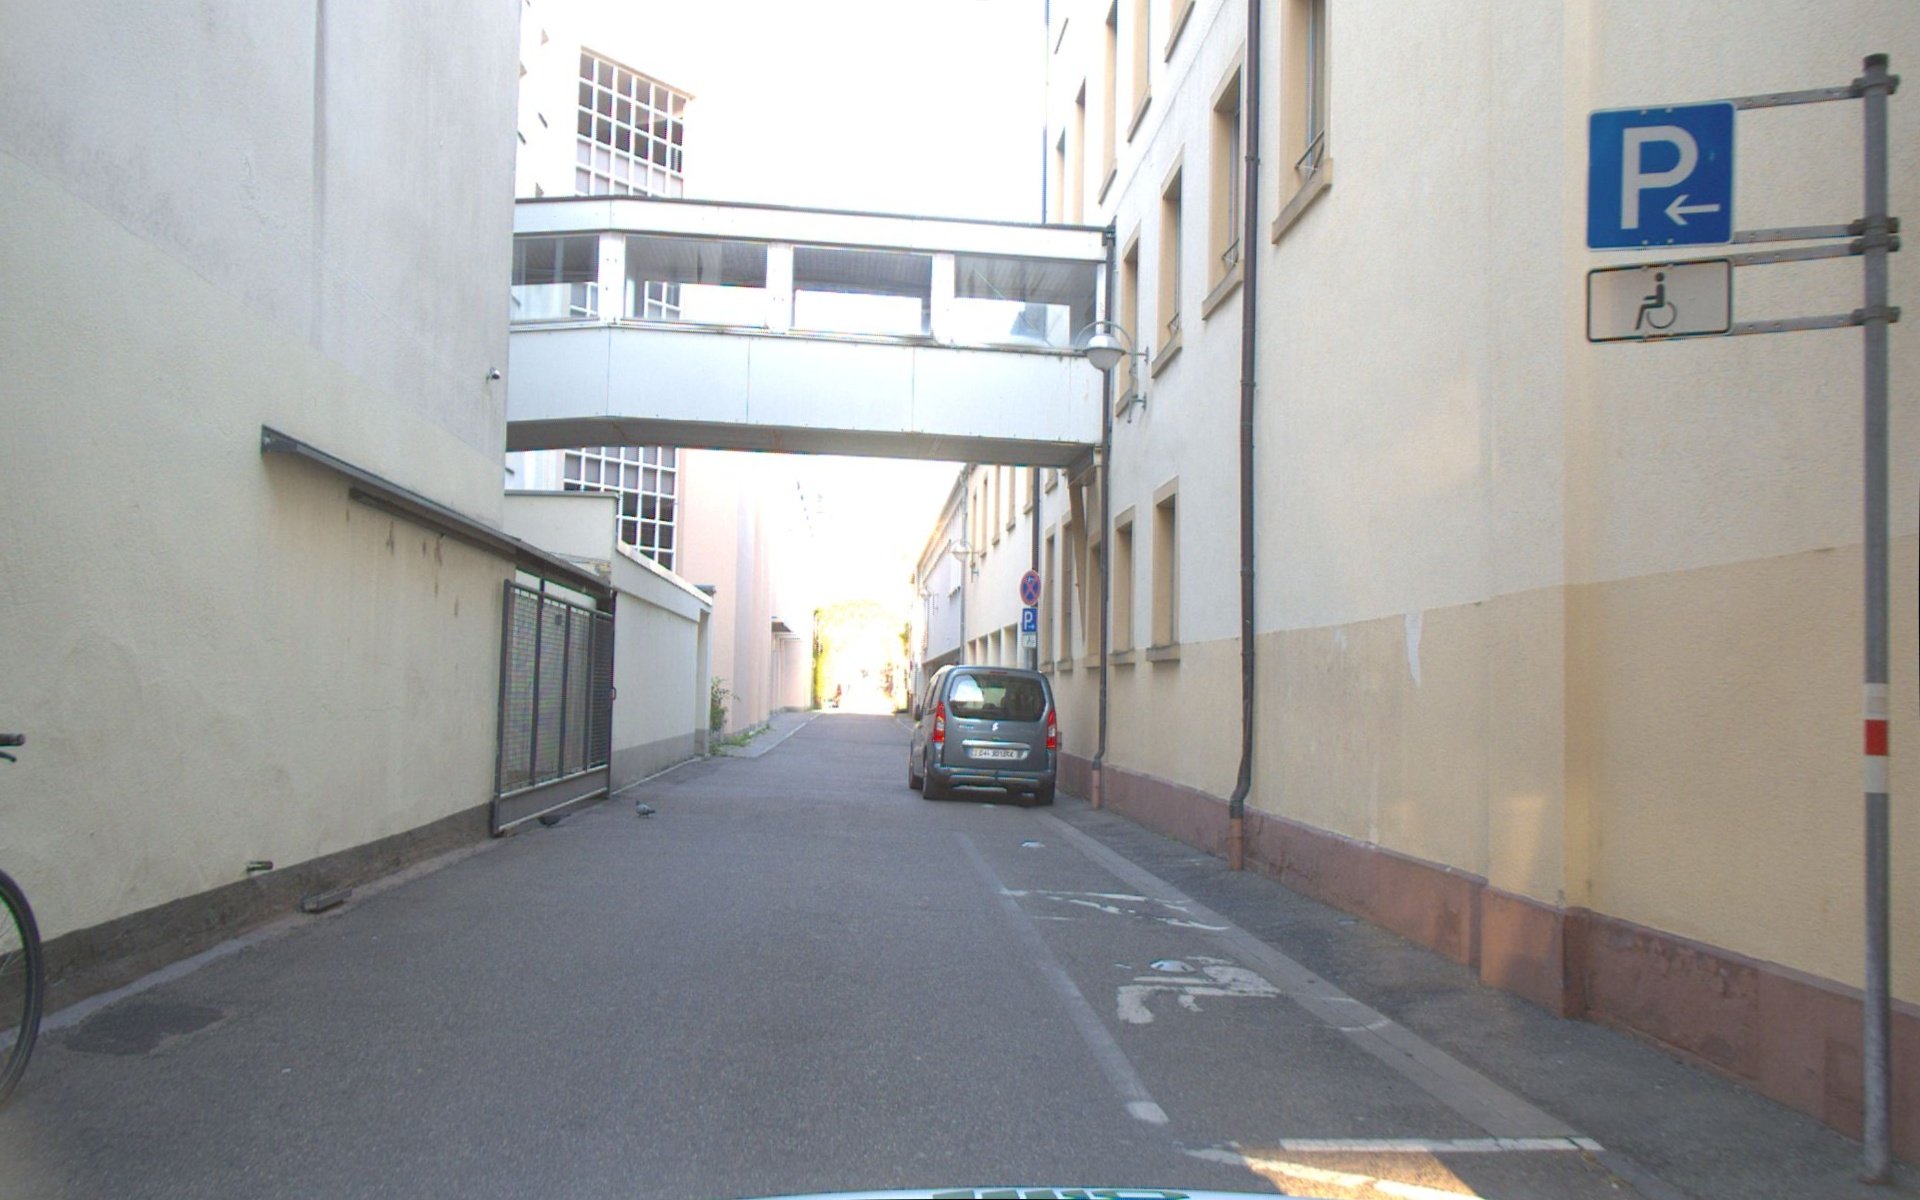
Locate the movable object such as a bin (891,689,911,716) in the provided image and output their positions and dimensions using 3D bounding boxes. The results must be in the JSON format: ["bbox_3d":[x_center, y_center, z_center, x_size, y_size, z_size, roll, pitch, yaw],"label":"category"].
[{"bbox_3d":[-3.390,5.893,95.326,1.085,1.461,1.413,1,0,-3],"label":"movable object such as a bin"}]

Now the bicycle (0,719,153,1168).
[{"bbox_3d":[-2.720,0.888,4.141,0.583,1.098,1.754,1,-2,-3],"label":"bicycle"}]

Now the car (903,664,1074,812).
[{"bbox_3d":[0.303,1.902,23.449,1.820,1.786,4.156,5,-4,-6],"label":"car"}]
